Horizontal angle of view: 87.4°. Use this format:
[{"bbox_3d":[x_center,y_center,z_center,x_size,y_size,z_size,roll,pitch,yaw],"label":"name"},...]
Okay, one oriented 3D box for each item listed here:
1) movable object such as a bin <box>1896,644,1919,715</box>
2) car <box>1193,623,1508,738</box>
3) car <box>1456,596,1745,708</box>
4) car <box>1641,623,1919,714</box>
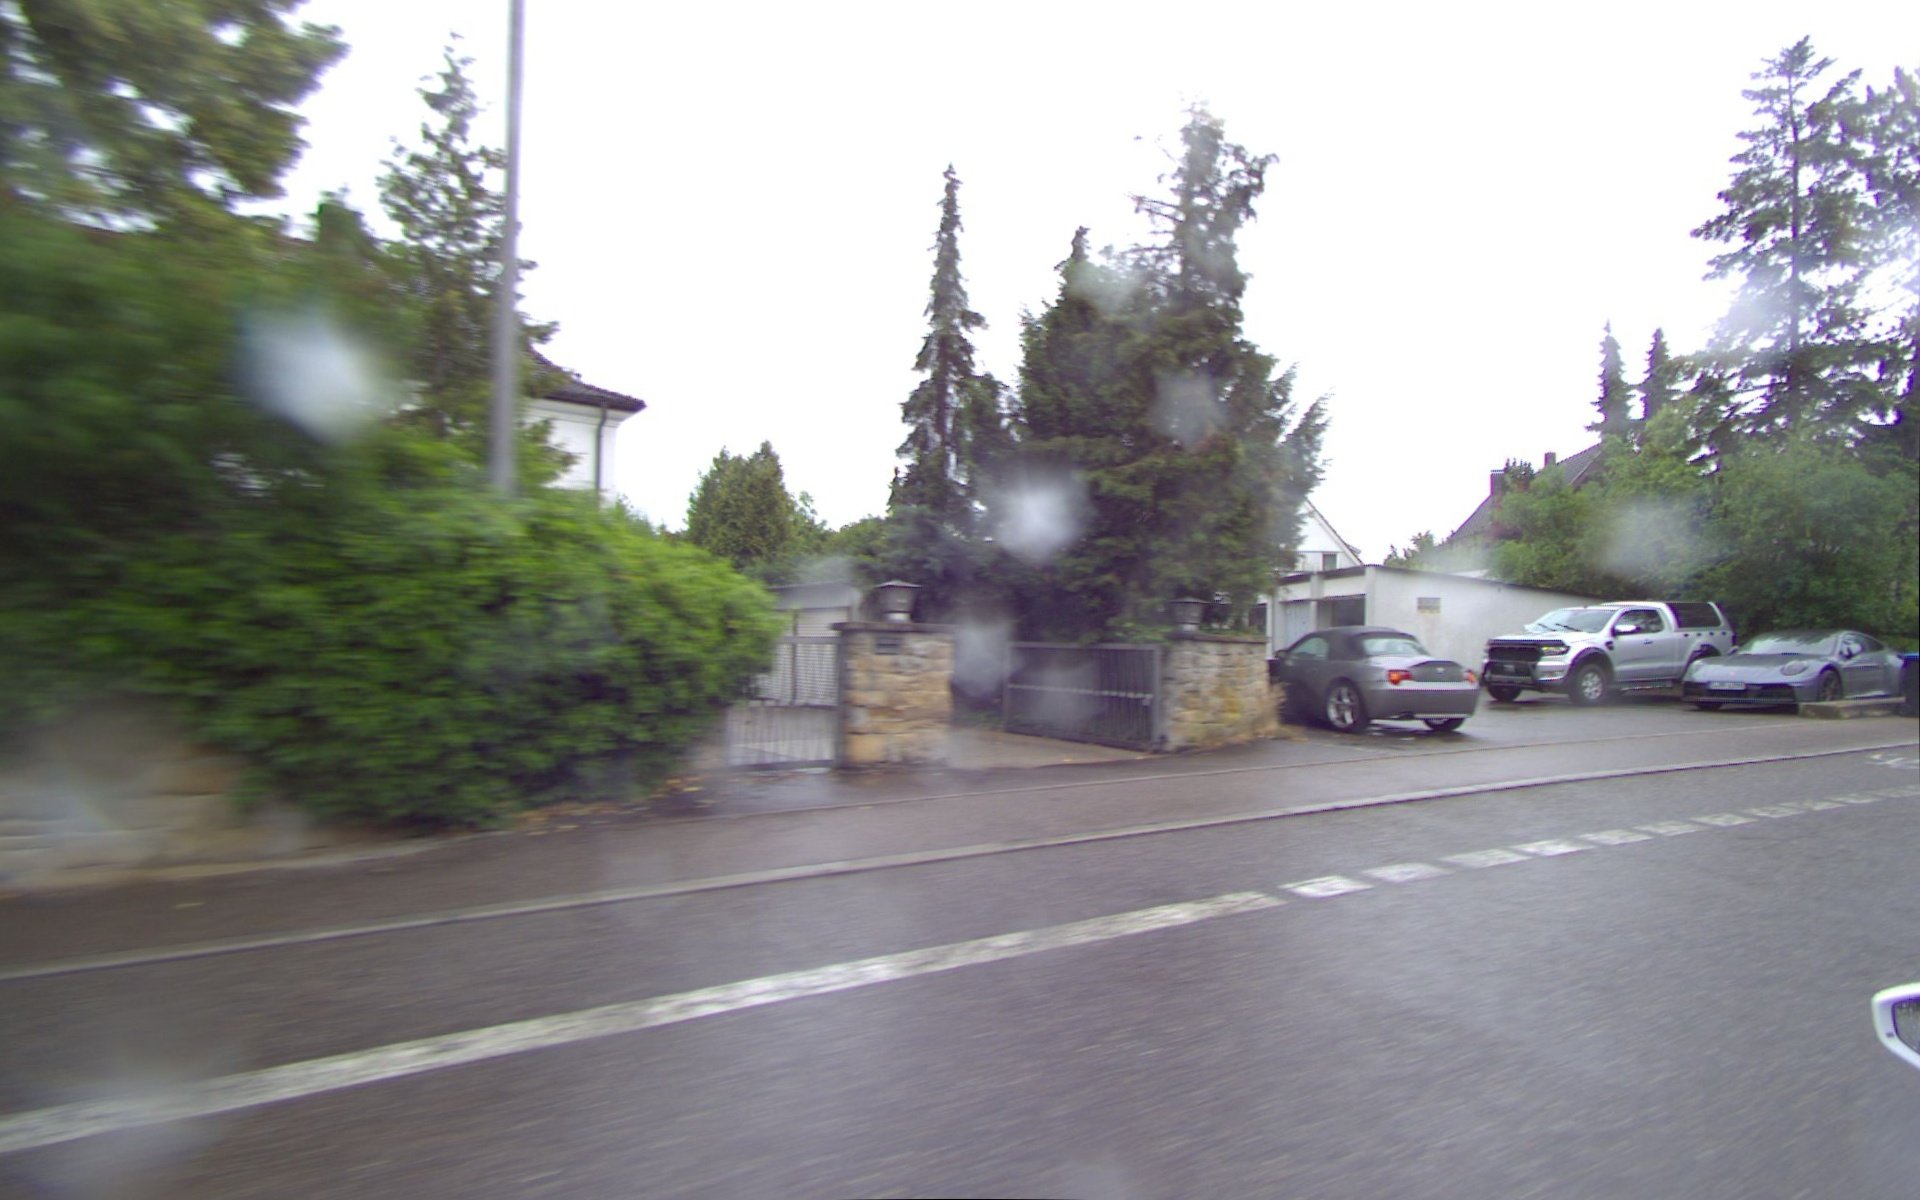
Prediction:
[{"bbox_3d":[14.042,1.154,14.668,0.551,1.001,0.369,1,-1,-27],"label":"movable object such as a bin"},{"bbox_3d":[5.068,0.971,13.648,1.845,1.288,3.982,1,-1,-20],"label":"car"},{"bbox_3d":[12.043,0.914,18.837,5.403,1.868,1.988,1,-1,-25],"label":"car"},{"bbox_3d":[13.559,1.049,16.476,4.373,1.325,1.988,1,-2,-25],"label":"car"}]
